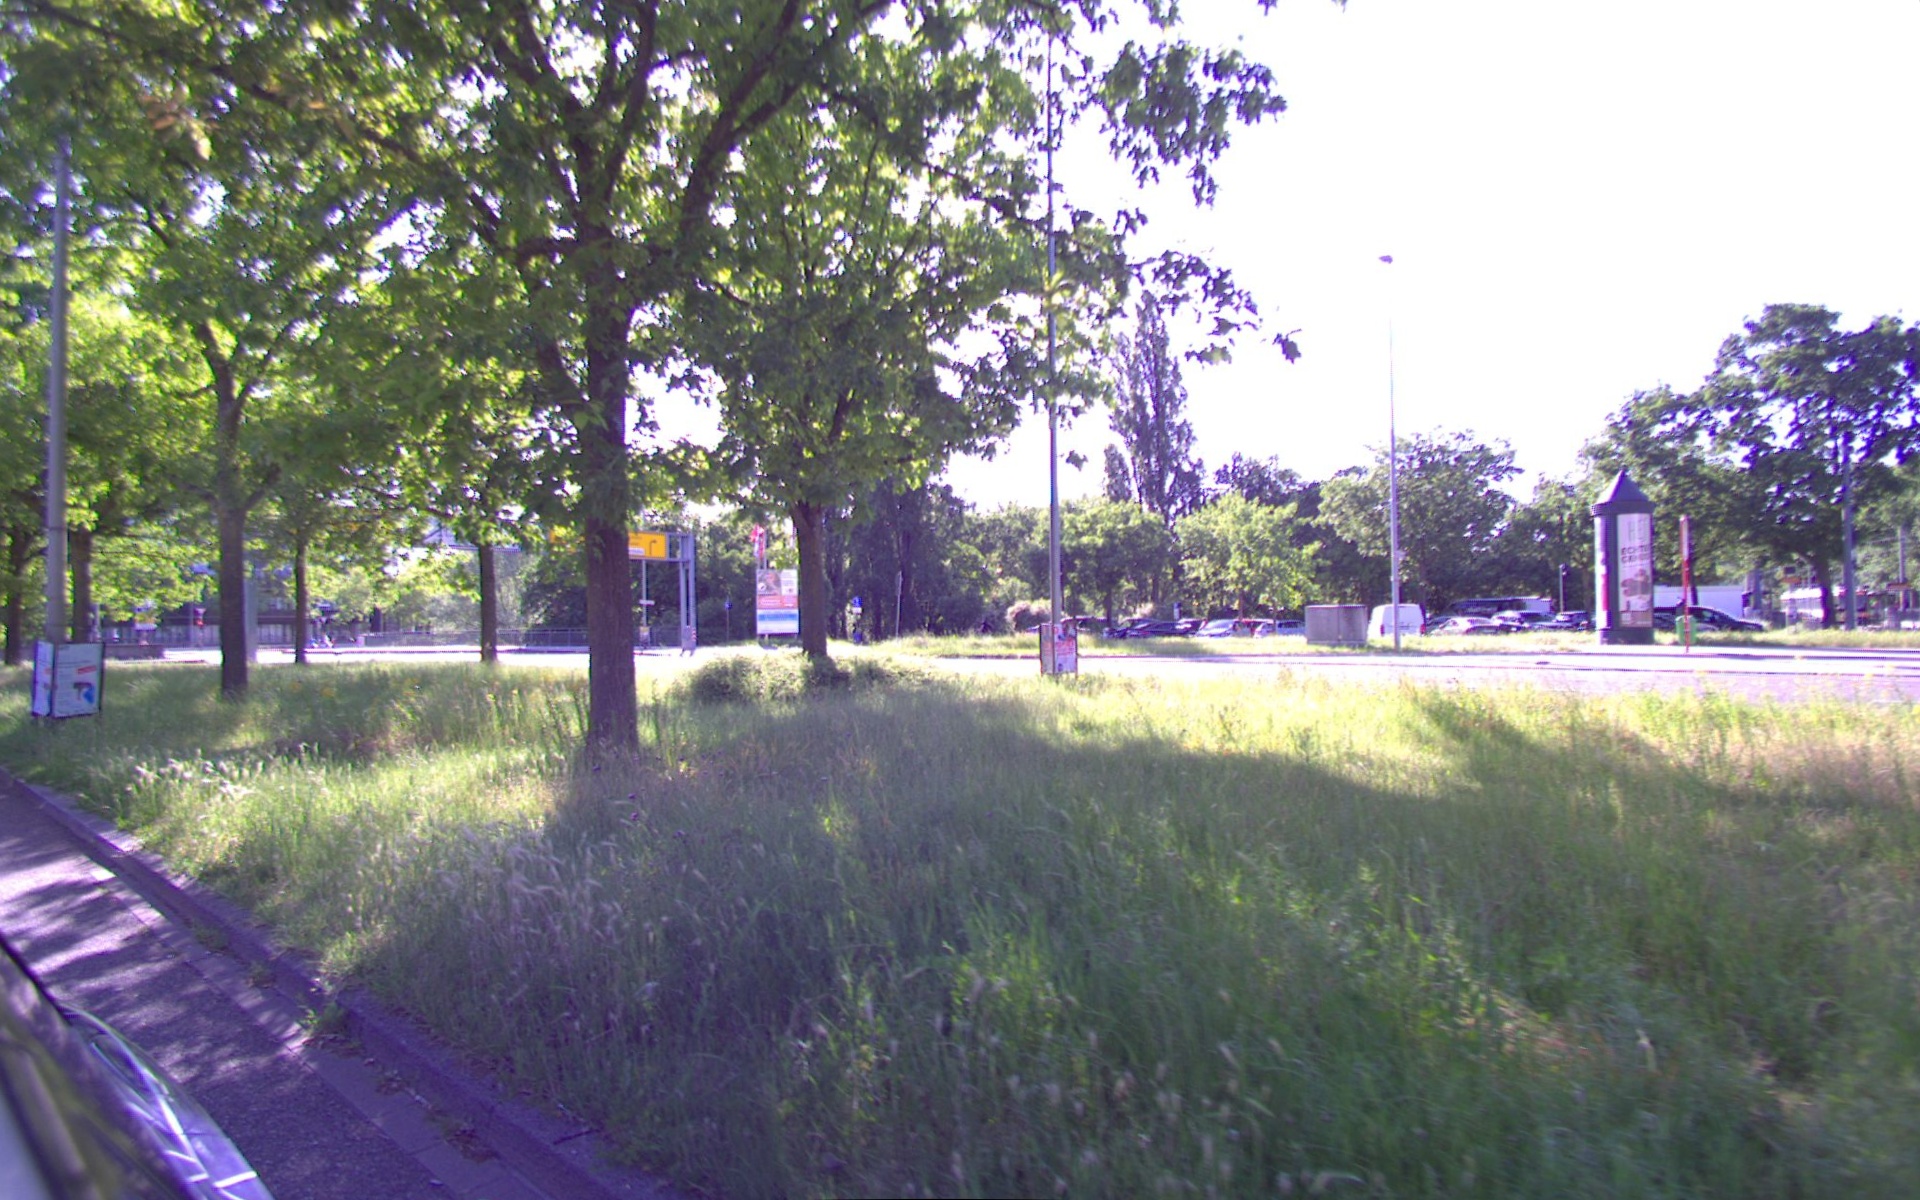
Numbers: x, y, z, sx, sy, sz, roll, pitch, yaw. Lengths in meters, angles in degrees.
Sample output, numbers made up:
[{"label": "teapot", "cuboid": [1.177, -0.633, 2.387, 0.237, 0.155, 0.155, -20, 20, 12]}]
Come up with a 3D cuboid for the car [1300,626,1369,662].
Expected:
[{"label": "car", "cuboid": [20.724, 2.404, 55.983, 3.821, 1.618, 1.658, -4, 1, -34]}]

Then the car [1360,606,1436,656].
[{"label": "car", "cuboid": [19.171, 1.339, 44.535, 2.218, 2.029, 4.976, -1, -1, 14]}]

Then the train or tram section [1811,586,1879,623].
[{"label": "train or tram section", "cuboid": [80.513, 0.398, 92.373, 2.464, 2.962, 19.608, -2, -1, 35]}]

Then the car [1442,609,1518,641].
[{"label": "car", "cuboid": [22.095, 1.038, 43.196, 1.981, 1.292, 3.982, -1, -1, 14]}]

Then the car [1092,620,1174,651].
[{"label": "car", "cuboid": [8.536, 1.761, 50.228, 1.791, 1.459, 4.012, 0, -1, -31]}]

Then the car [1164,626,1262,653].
[{"label": "car", "cuboid": [11.687, 1.831, 46.822, 3.989, 1.137, 1.801, -2, -1, 34]}]

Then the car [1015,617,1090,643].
[{"label": "car", "cuboid": [5.829, 1.890, 63.686, 4.508, 1.475, 1.993, -1, 0, 11]}]

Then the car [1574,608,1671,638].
[{"label": "car", "cuboid": [33.589, 1.185, 51.432, 3.983, 1.425, 1.754, -2, -1, 30]}]

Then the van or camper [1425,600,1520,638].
[{"label": "van or camper", "cuboid": [29.232, 1.101, 57.806, 1.966, 2.112, 4.413, 0, -2, -33]}]

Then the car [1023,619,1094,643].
[{"label": "car", "cuboid": [6.573, 2.040, 67.232, 4.508, 1.475, 1.993, -1, 0, 11]}]
